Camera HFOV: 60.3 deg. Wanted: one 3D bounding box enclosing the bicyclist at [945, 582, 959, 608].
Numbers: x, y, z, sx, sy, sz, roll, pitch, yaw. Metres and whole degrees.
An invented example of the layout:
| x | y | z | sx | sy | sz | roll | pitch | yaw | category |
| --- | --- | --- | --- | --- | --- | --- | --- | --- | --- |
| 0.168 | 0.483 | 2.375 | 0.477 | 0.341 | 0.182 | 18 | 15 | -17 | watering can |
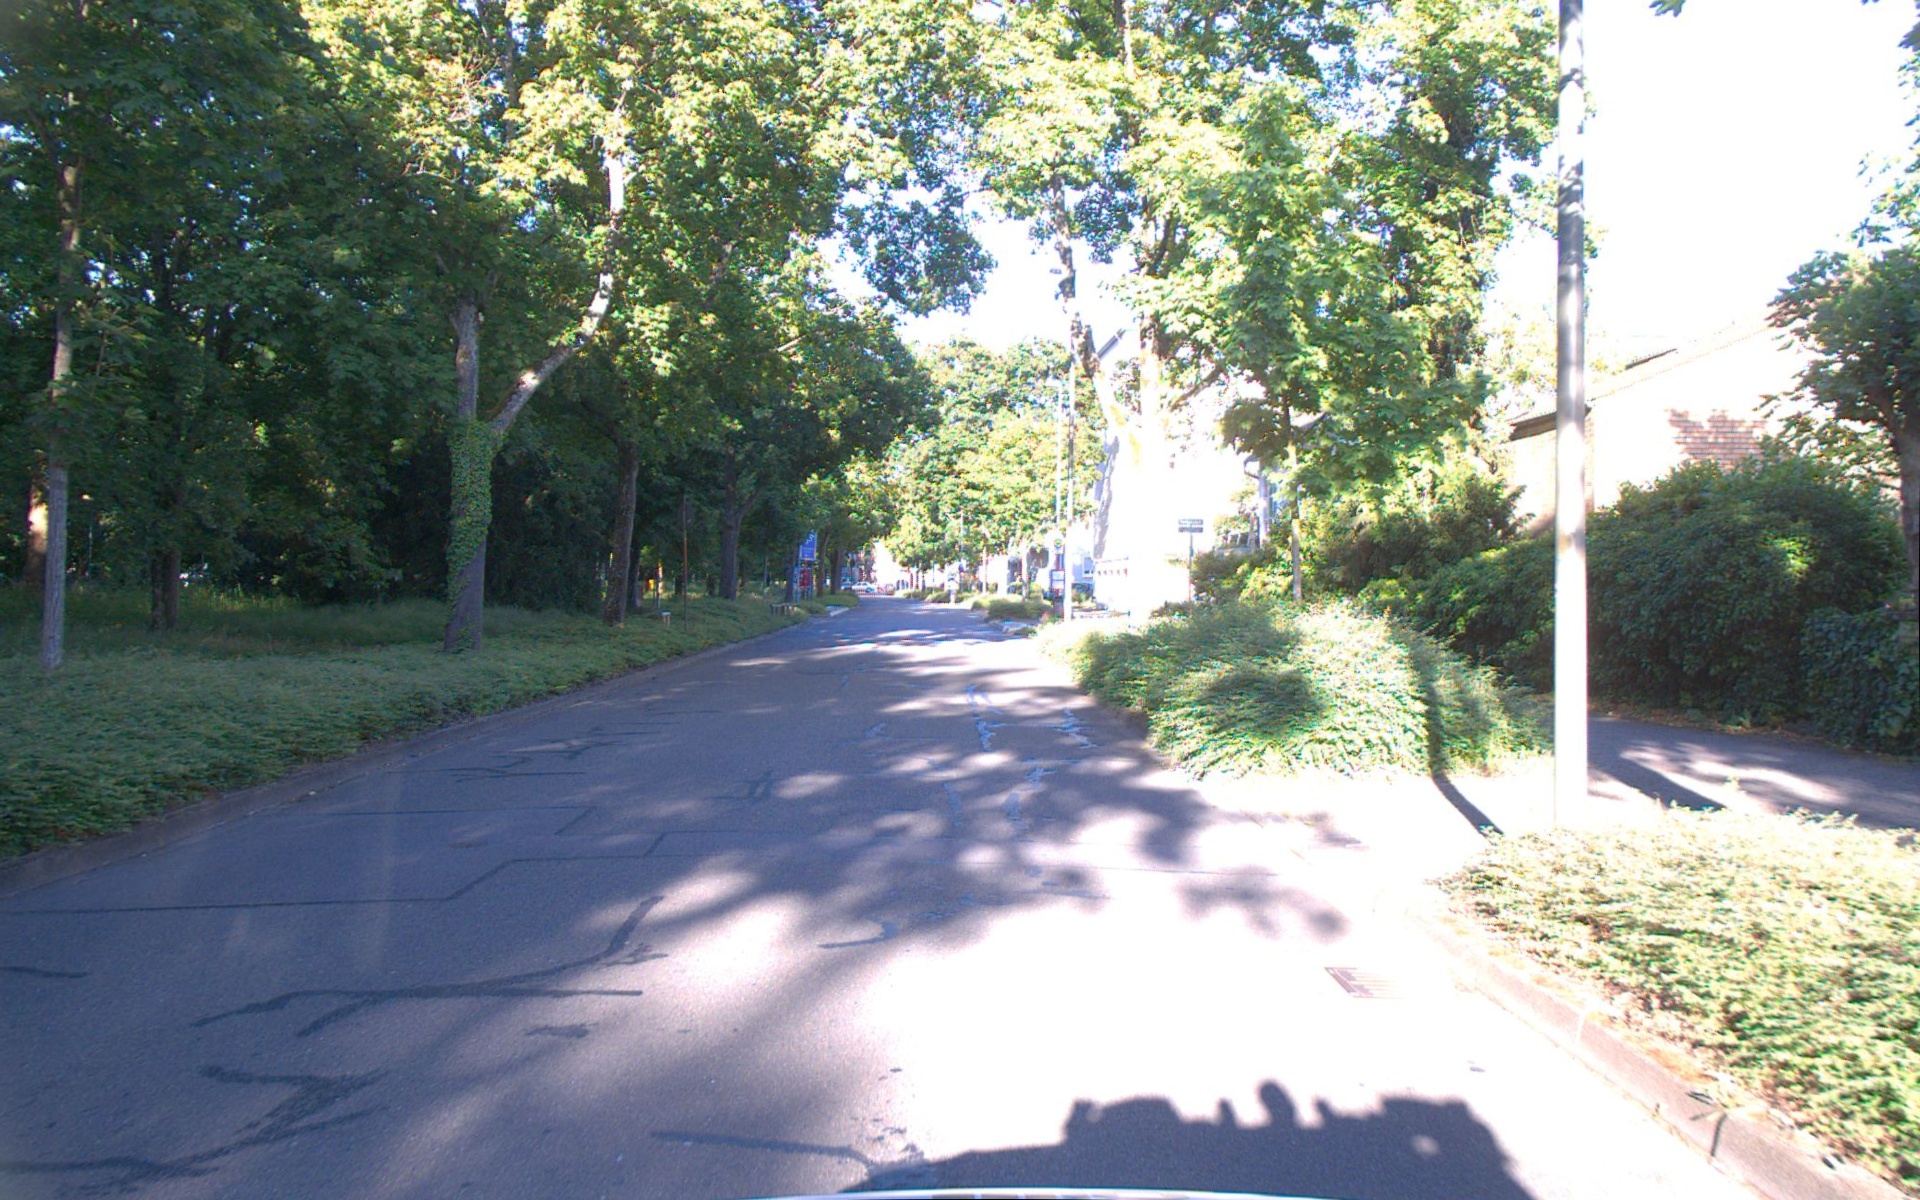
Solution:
| x | y | z | sx | sy | sz | roll | pitch | yaw | category |
| --- | --- | --- | --- | --- | --- | --- | --- | --- | --- |
| -0.542 | -0.345 | 110.525 | 0.849 | 1.669 | 1.114 | 2 | 1 | -1 | bicyclist |

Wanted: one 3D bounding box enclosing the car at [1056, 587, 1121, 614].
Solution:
| x | y | z | sx | sy | sz | roll | pitch | yaw | category |
| --- | --- | --- | --- | --- | --- | --- | --- | --- | --- |
| 8.624 | 0.016 | 110.979 | 4.259 | 1.377 | 2.146 | 4 | 4 | 5 | car |

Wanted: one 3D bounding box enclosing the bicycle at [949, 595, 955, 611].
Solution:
| x | y | z | sx | sy | sz | roll | pitch | yaw | category |
| --- | --- | --- | --- | --- | --- | --- | --- | --- | --- |
| -0.538 | 0.189 | 110.501 | 0.430 | 0.995 | 1.661 | 1 | 2 | -1 | bicycle |

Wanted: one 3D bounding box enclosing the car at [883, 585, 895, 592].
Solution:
| x | y | z | sx | sy | sz | roll | pitch | yaw | category |
| --- | --- | --- | --- | --- | --- | --- | --- | --- | --- |
| -10.767 | -1.724 | 250.504 | 1.802 | 1.008 | 3.817 | 2 | 0 | -3 | car |

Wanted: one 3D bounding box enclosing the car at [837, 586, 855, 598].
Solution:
| x | y | z | sx | sy | sz | roll | pitch | yaw | category |
| --- | --- | --- | --- | --- | --- | --- | --- | --- | --- |
| -15.136 | -1.060 | 219.356 | 1.958 | 1.377 | 3.532 | 2 | 0 | -10 | car |
